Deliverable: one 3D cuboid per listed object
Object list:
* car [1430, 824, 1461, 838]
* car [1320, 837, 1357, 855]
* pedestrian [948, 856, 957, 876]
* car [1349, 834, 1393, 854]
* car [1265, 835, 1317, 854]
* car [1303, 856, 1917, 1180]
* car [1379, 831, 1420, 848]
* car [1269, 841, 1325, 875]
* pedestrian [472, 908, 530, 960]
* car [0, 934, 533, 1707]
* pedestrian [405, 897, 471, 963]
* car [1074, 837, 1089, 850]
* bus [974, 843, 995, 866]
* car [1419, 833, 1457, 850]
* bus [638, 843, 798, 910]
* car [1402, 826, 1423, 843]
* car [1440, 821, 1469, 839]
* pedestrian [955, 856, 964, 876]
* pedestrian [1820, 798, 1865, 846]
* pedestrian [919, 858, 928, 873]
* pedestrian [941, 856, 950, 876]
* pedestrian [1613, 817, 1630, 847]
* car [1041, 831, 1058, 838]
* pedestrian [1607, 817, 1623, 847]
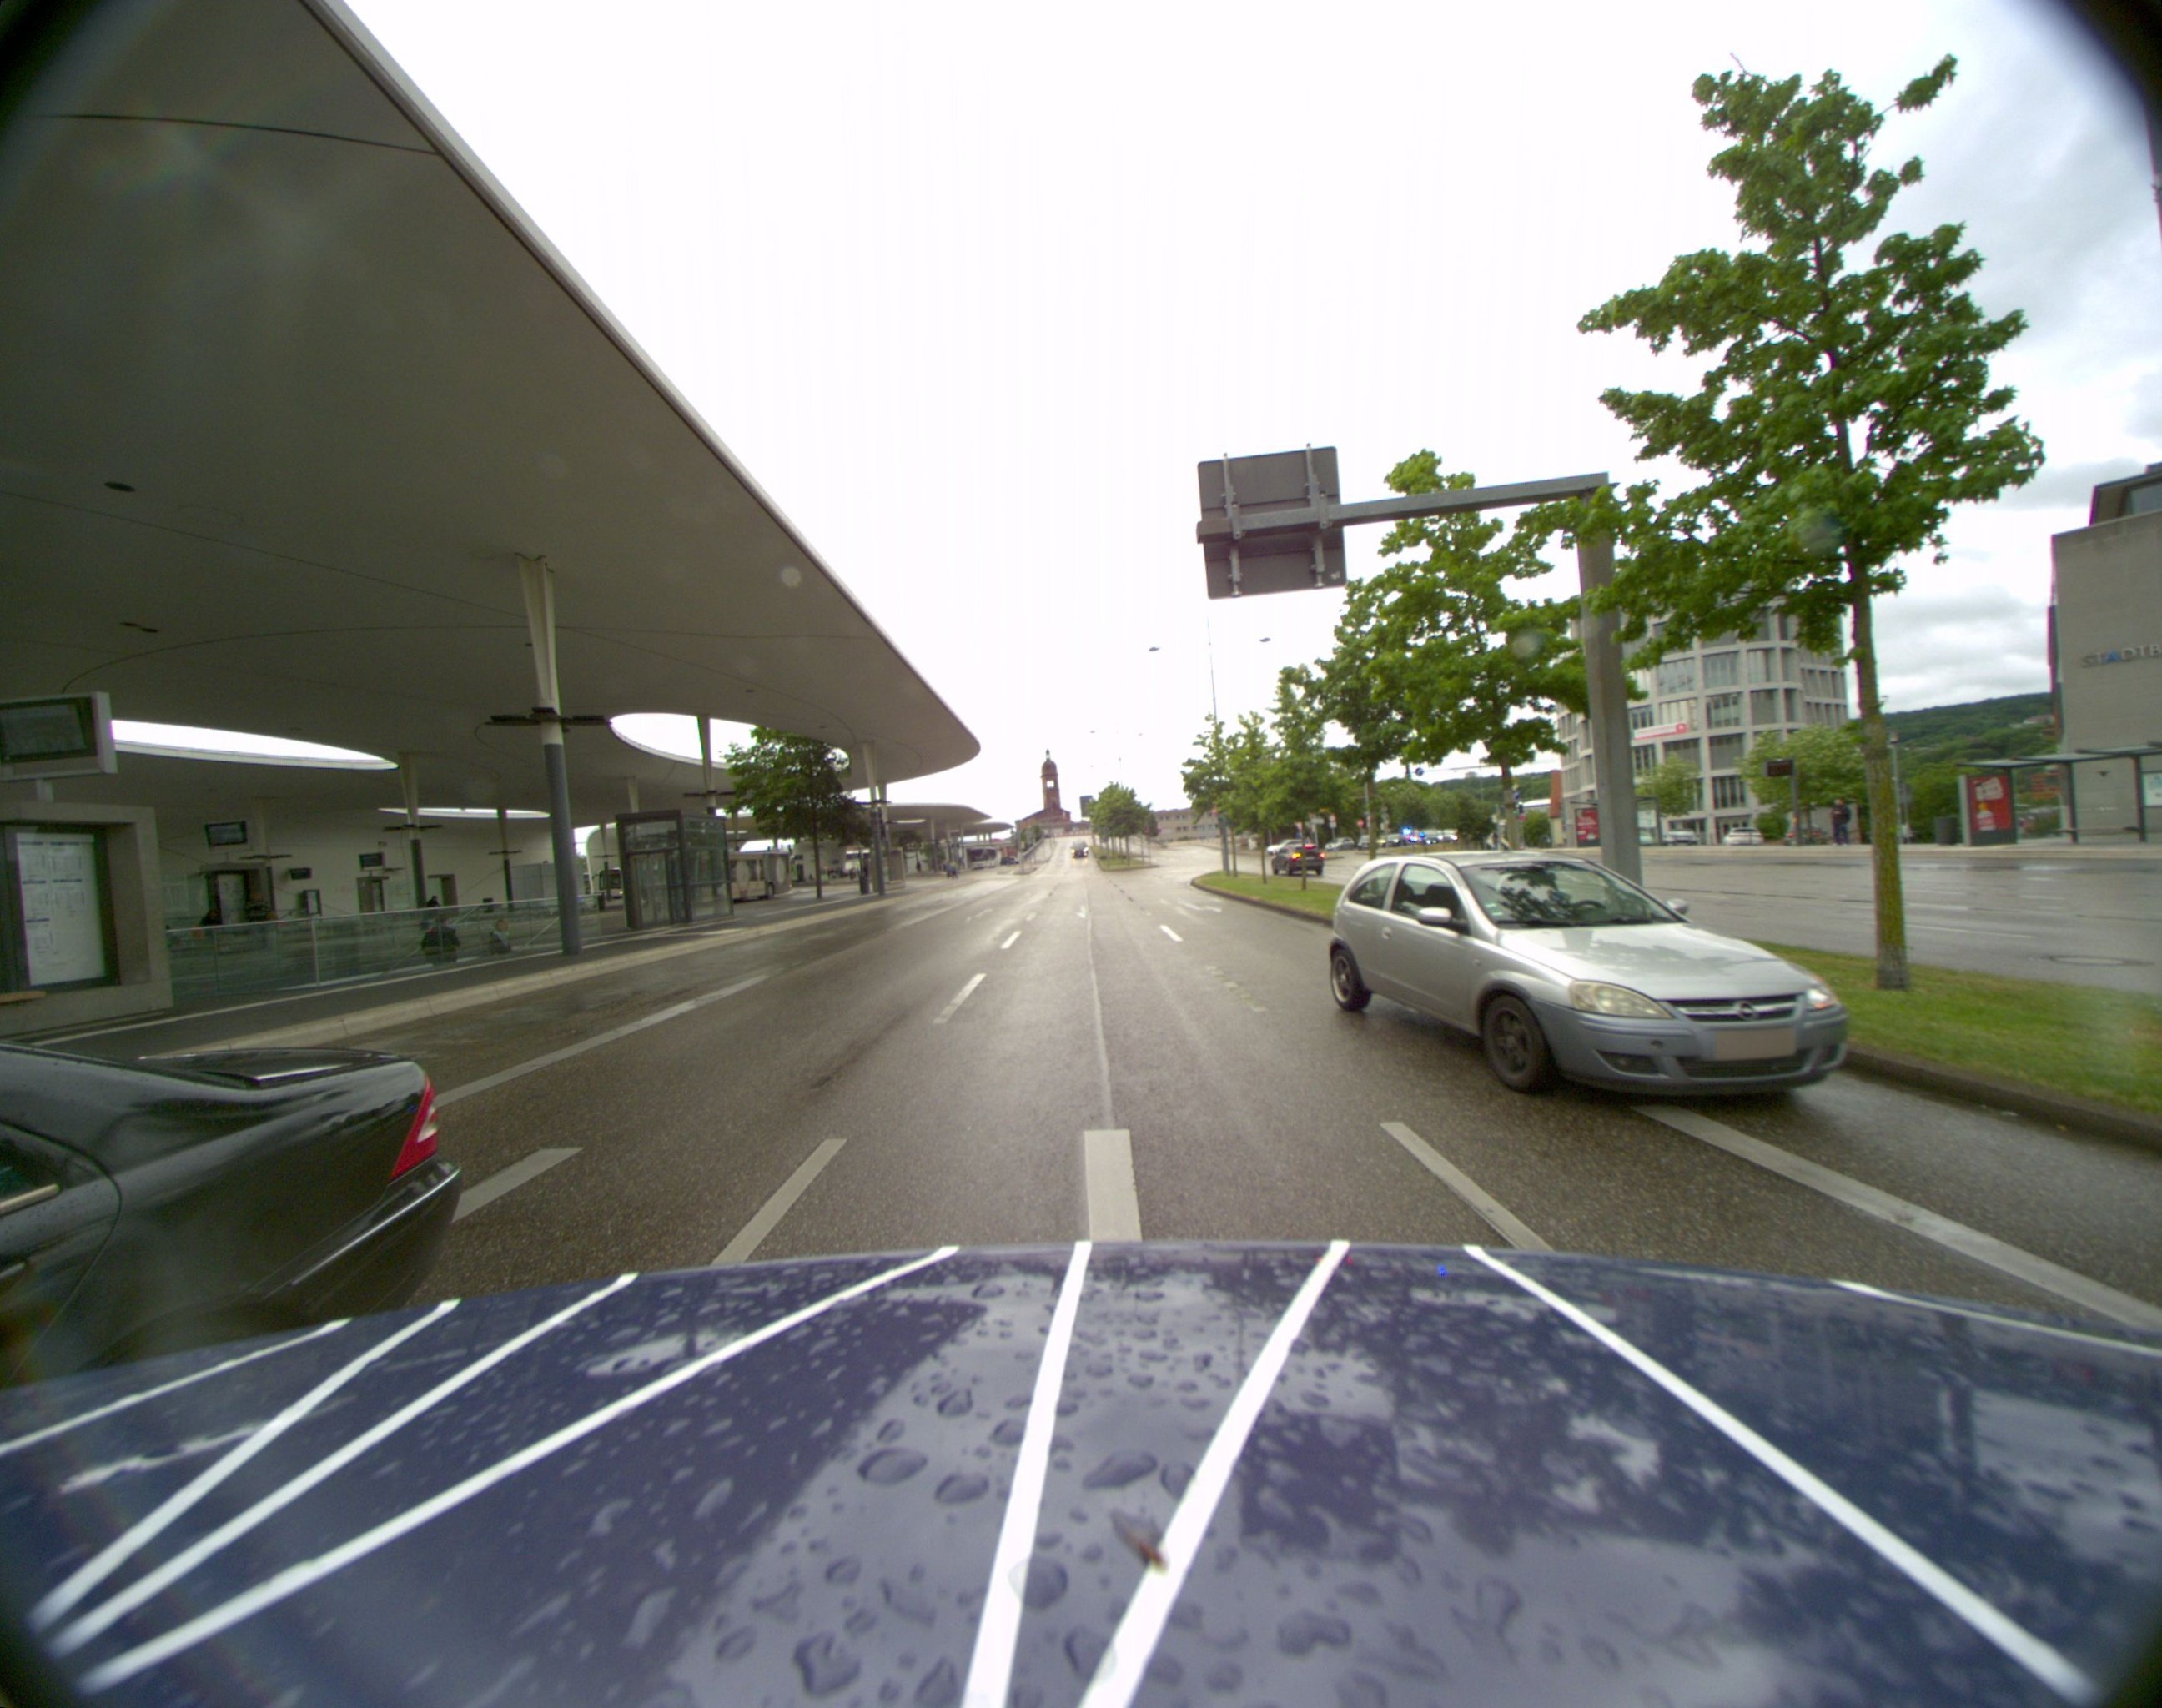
[{"bbox_3d":[49.459,-3.079,103.151,4.925,1.702,2.190,-3,1,-45],"label":"car"},{"bbox_3d":[28.202,-0.870,83.226,4.007,1.783,1.995,-3,1,-39],"label":"car"},{"bbox_3d":[-10.585,0.995,62.806,0.557,1.614,0.552,-3,1,1],"label":"pedestrian"},{"bbox_3d":[29.712,-1.032,77.779,4.925,1.702,2.190,-3,1,-43],"label":"car"},{"bbox_3d":[22.157,-0.995,80.256,4.921,1.702,2.192,-3,1,-21],"label":"car"},{"bbox_3d":[3.149,0.790,5.552,1.628,1.450,3.734,-3,0,-5],"label":"car"},{"bbox_3d":[35.073,-1.588,83.611,4.925,1.702,2.190,-3,1,-43],"label":"car"},{"bbox_3d":[11.549,0.182,40.932,1.826,1.630,4.600,-3,0,3],"label":"car"},{"bbox_3d":[-11.693,1.603,15.341,0.622,0.957,0.638,-3,1,1],"label":"pedestrian"},{"bbox_3d":[-2.848,1.183,0.352,1.750,1.472,4.433,-8,2,1],"label":"car"},{"bbox_3d":[-13.022,1.525,15.410,0.693,1.244,0.669,-3,1,1],"label":"pedestrian"},{"bbox_3d":[0.077,-1.372,101.400,1.704,1.656,3.998,-3,1,-2],"label":"car"},{"bbox_3d":[-14.303,0.066,113.261,2.675,3.111,9.712,-3,0,-5],"label":"bus"},{"bbox_3d":[40.571,-1.451,86.377,4.925,1.702,2.190,-3,1,-43],"label":"car"},{"bbox_3d":[-19.787,1.047,42.753,3.003,3.088,12.353,-3,0,0],"label":"bus"},{"bbox_3d":[41.619,-2.460,95.522,2.305,2.002,5.041,-3,1,23],"label":"car"},{"bbox_3d":[46.286,-3.002,94.027,1.995,2.002,4.007,-2,1,44],"label":"car"},{"bbox_3d":[-9.987,0.971,62.700,0.557,1.614,0.552,-3,1,1],"label":"pedestrian"},{"bbox_3d":[29.151,-1.216,29.094,0.787,1.750,0.972,-3,1,-28],"label":"pedestrian"},{"bbox_3d":[-18.066,1.311,87.184,0.723,1.621,0.753,-3,1,0],"label":"pedestrian"},{"bbox_3d":[-11.197,1.028,62.864,0.576,1.614,0.588,-3,1,1],"label":"pedestrian"},{"bbox_3d":[30.053,-1.239,42.241,0.520,1.625,0.536,-2,1,1],"label":"pedestrian"},{"bbox_3d":[-8.138,-5.036,196.109,2.004,1.765,3.989,-3,1,-41],"label":"car"},{"bbox_3d":[29.504,-1.212,42.007,0.504,1.625,0.502,-2,1,1],"label":"pedestrian"}]
